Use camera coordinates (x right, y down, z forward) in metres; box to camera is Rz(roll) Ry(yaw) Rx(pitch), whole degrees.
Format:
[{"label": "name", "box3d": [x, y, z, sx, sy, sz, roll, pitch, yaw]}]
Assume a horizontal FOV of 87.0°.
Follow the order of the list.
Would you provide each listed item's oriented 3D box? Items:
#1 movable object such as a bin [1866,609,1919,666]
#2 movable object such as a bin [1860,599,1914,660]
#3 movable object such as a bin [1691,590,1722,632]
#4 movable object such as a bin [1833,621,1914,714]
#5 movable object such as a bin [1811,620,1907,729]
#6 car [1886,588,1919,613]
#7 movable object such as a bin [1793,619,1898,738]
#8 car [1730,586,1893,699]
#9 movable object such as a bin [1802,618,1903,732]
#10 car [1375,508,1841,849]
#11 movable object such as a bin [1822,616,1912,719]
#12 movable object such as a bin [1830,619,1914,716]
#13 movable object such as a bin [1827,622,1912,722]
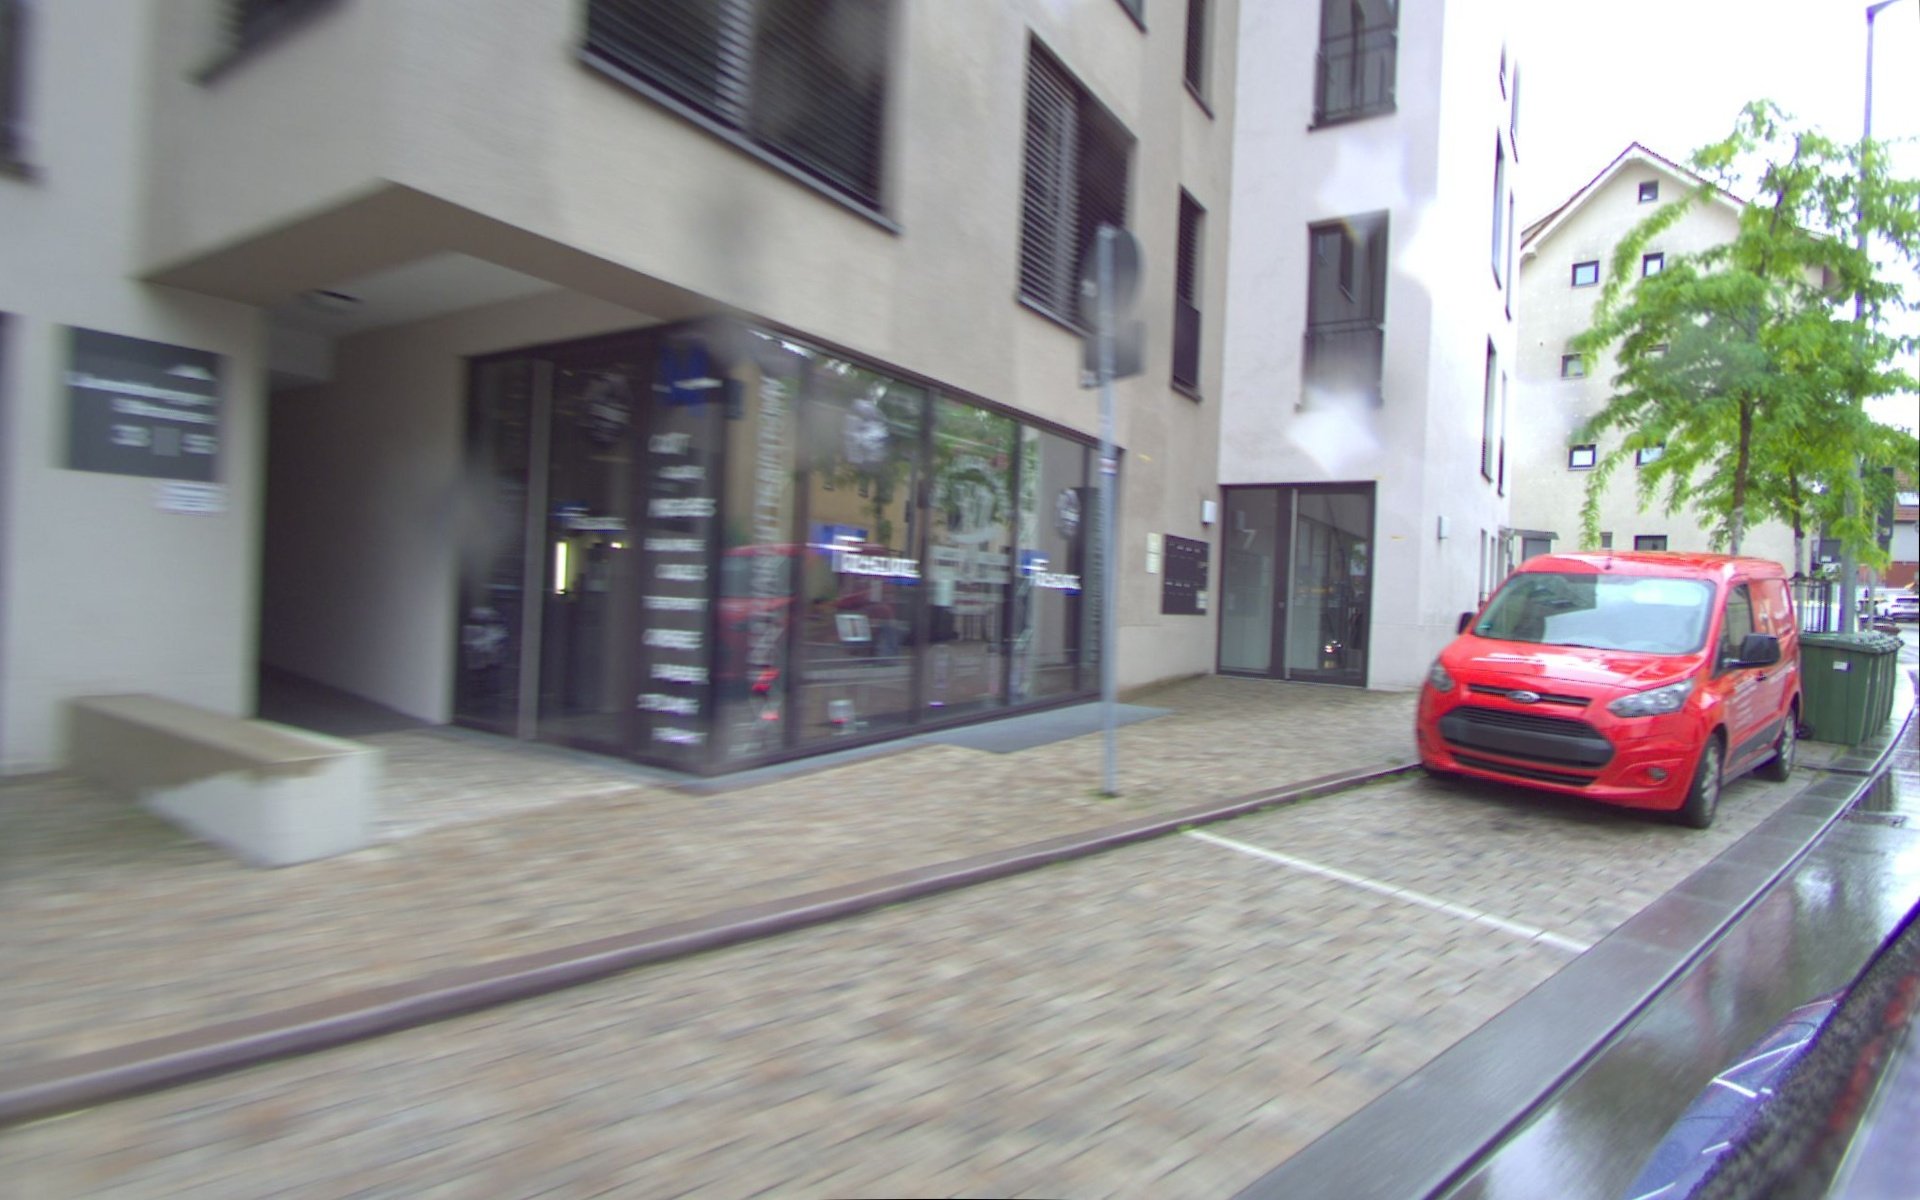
[{"label": "movable object such as a bin", "box3d": [20.195, 0.797, 21.928, 0.761, 1.122, 0.797, 6, 5, 43]}, {"label": "movable object such as a bin", "box3d": [21.022, 0.653, 22.962, 0.795, 1.263, 1.224, 6, 5, 43]}, {"label": "movable object such as a bin", "box3d": [21.155, 0.294, 28.700, 0.506, 1.122, 0.714, 4, 4, 27]}, {"label": "movable object such as a bin", "box3d": [11.656, 0.839, 12.911, 0.709, 1.101, 0.591, 3, 2, 45]}, {"label": "movable object such as a bin", "box3d": [9.855, 0.792, 11.099, 0.591, 1.101, 0.710, 0, 2, -43]}, {"label": "car", "box3d": [60.035, -0.003, 63.708, 1.986, 1.463, 3.953, 1, 2, 33]}, {"label": "movable object such as a bin", "box3d": [8.987, 0.772, 10.275, 0.591, 1.101, 0.710, 0, 2, -43]}, {"label": "car", "box3d": [13.750, 0.580, 16.290, 3.575, 1.544, 1.639, -1, 3, -44]}, {"label": "movable object such as a bin", "box3d": [9.426, 0.767, 10.690, 0.591, 1.101, 0.710, 0, 2, -43]}, {"label": "car", "box3d": [5.234, 0.362, 7.895, 4.525, 1.930, 1.839, -1, 4, -42]}, {"label": "movable object such as a bin", "box3d": [10.456, 0.752, 11.668, 0.709, 1.101, 0.591, 3, 2, 45]}, {"label": "movable object such as a bin", "box3d": [11.239, 0.813, 12.473, 0.709, 1.101, 0.591, 3, 2, 45]}, {"label": "movable object such as a bin", "box3d": [10.846, 0.836, 12.072, 0.703, 1.101, 0.507, 3, 2, 45]}]
